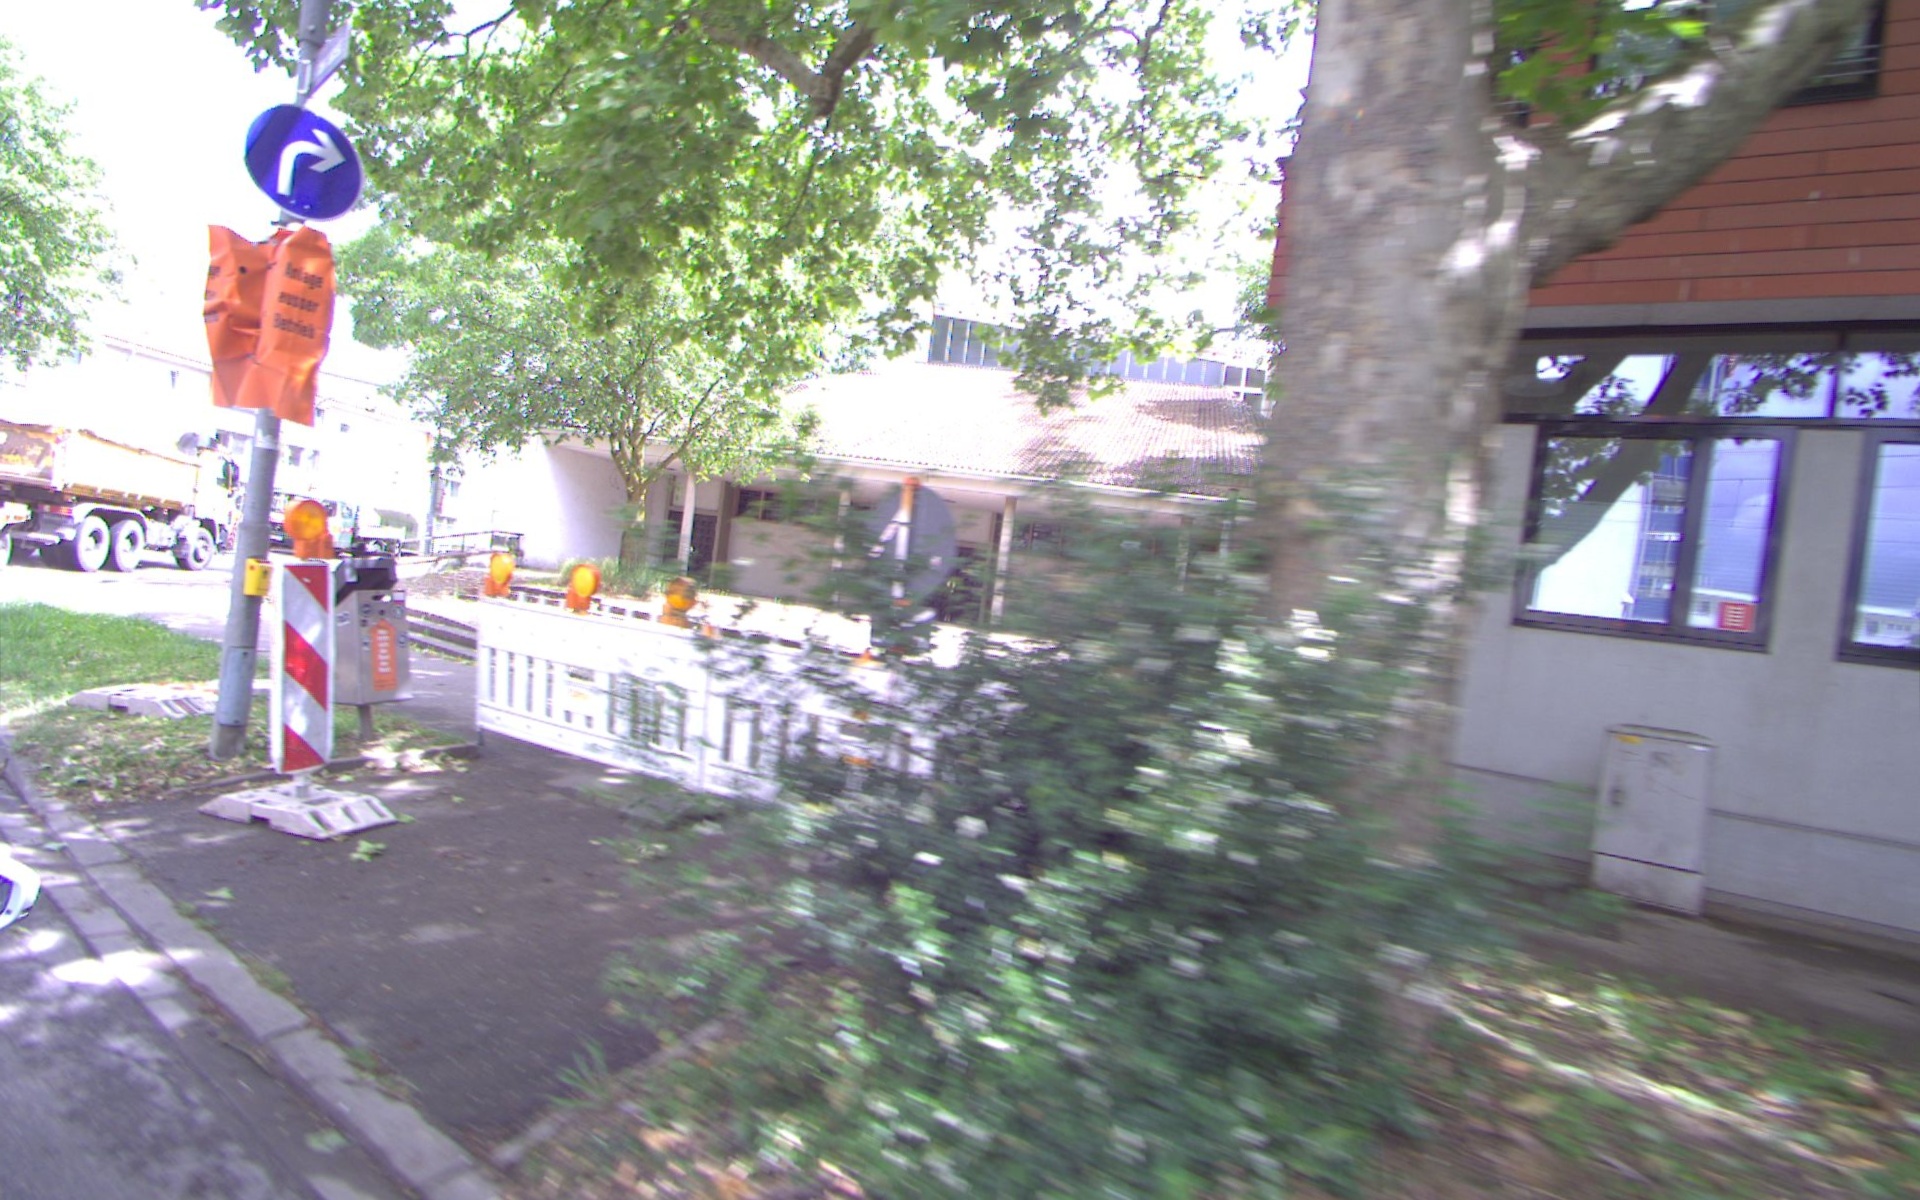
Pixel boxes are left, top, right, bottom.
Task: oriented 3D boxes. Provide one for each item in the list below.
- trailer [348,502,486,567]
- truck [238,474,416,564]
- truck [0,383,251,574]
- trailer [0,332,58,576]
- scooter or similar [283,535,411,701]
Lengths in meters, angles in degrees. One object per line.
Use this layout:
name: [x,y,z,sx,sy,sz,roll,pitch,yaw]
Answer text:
trailer: [-24.919,-2.920,46.535,2.622,2.241,6.245,9,1,1]
truck: [-25.040,-3.101,40.227,2.622,2.759,6.392,9,1,1]
truck: [-18.410,-2.384,21.291,2.884,3.205,7.652,9,-1,-16]
trailer: [-14.531,-2.129,12.920,2.810,3.564,10.941,10,-1,-36]
scooter or similar: [-5.192,0.133,8.492,1.179,1.248,0.562,7,1,45]
